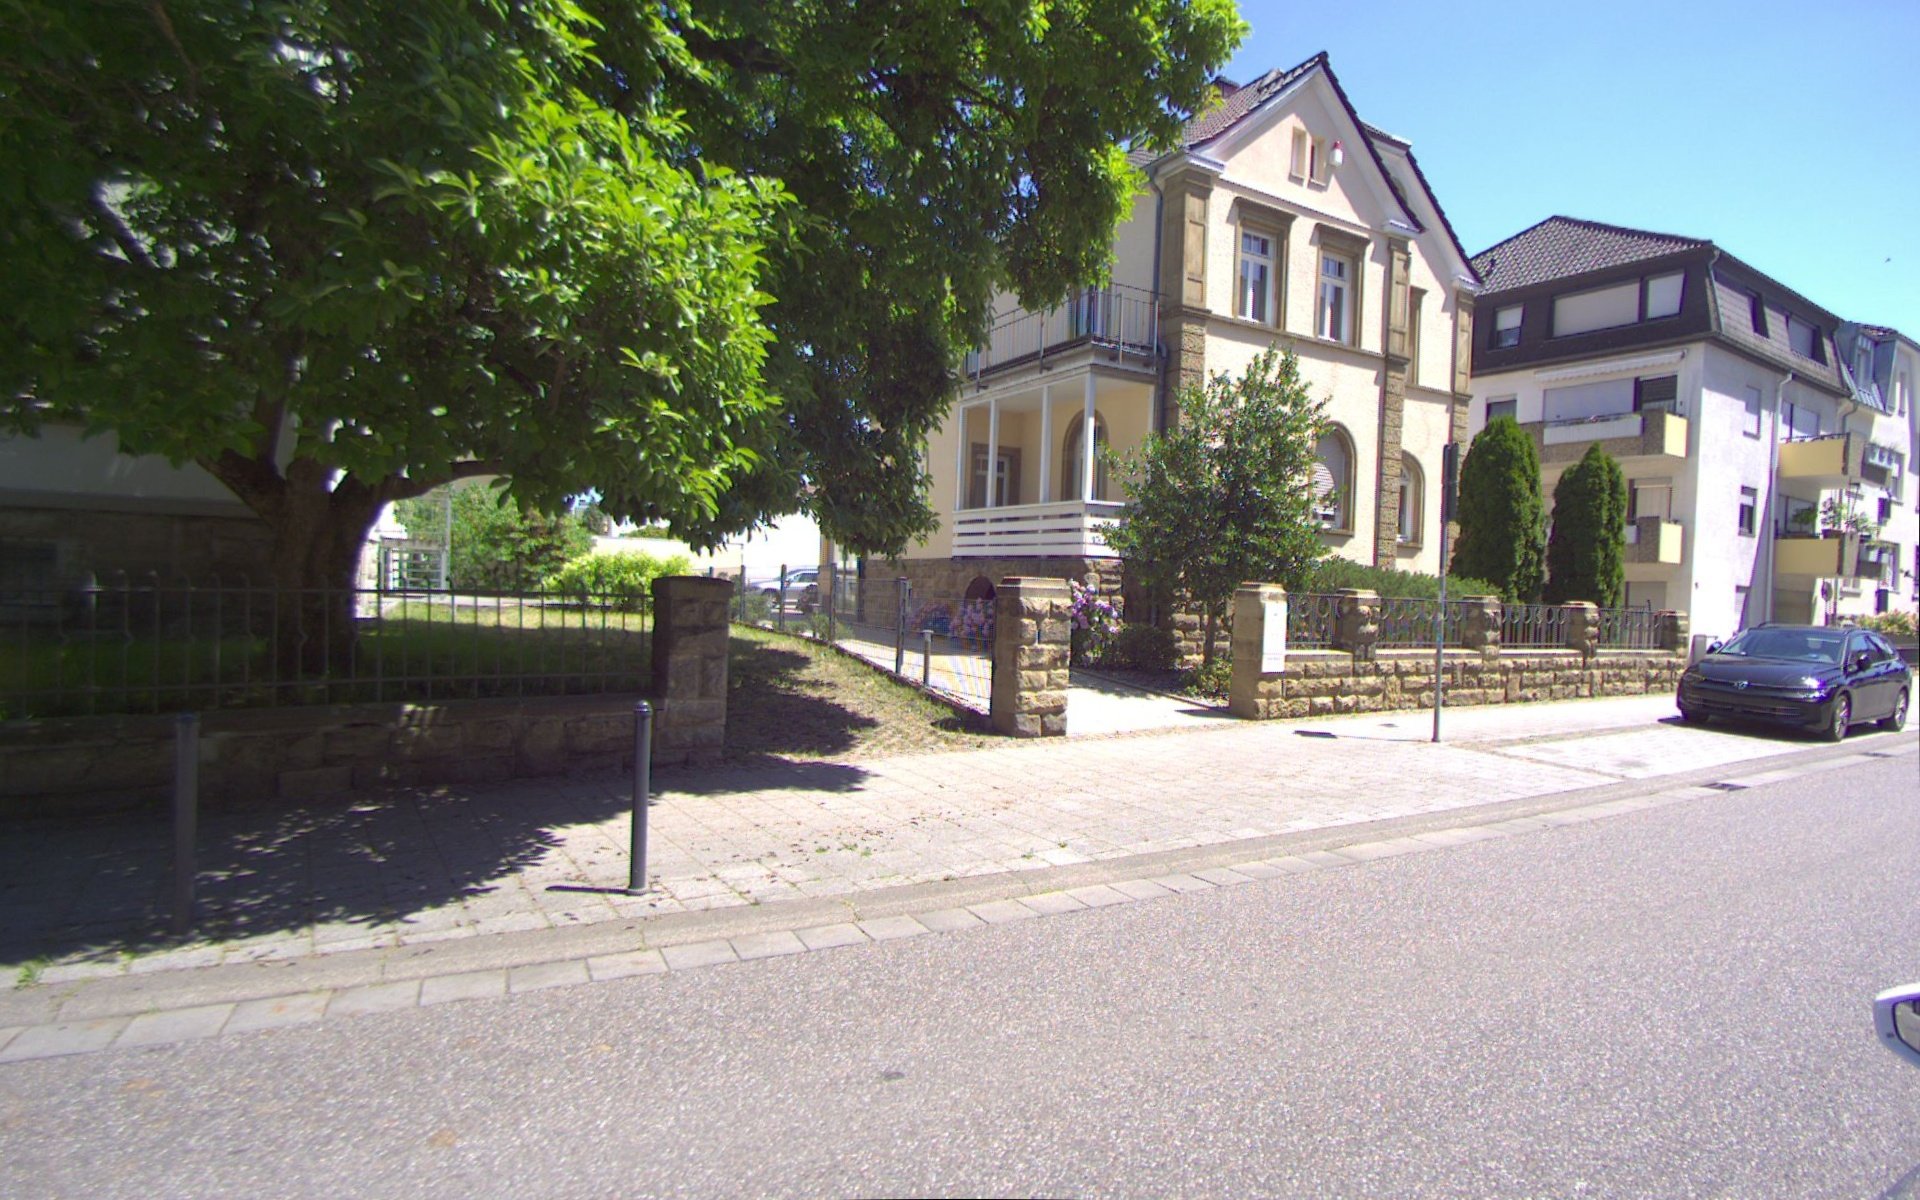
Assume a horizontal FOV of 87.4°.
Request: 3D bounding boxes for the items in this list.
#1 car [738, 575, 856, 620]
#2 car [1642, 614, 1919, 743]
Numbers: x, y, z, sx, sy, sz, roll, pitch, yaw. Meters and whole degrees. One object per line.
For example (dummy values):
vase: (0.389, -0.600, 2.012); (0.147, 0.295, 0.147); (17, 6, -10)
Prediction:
car: (-5.915, -0.082, 36.386); (3.939, 1.483, 1.805); (2, 1, -20)
car: (12.099, 1.053, 14.663); (4.611, 1.456, 1.913); (2, 3, -34)
